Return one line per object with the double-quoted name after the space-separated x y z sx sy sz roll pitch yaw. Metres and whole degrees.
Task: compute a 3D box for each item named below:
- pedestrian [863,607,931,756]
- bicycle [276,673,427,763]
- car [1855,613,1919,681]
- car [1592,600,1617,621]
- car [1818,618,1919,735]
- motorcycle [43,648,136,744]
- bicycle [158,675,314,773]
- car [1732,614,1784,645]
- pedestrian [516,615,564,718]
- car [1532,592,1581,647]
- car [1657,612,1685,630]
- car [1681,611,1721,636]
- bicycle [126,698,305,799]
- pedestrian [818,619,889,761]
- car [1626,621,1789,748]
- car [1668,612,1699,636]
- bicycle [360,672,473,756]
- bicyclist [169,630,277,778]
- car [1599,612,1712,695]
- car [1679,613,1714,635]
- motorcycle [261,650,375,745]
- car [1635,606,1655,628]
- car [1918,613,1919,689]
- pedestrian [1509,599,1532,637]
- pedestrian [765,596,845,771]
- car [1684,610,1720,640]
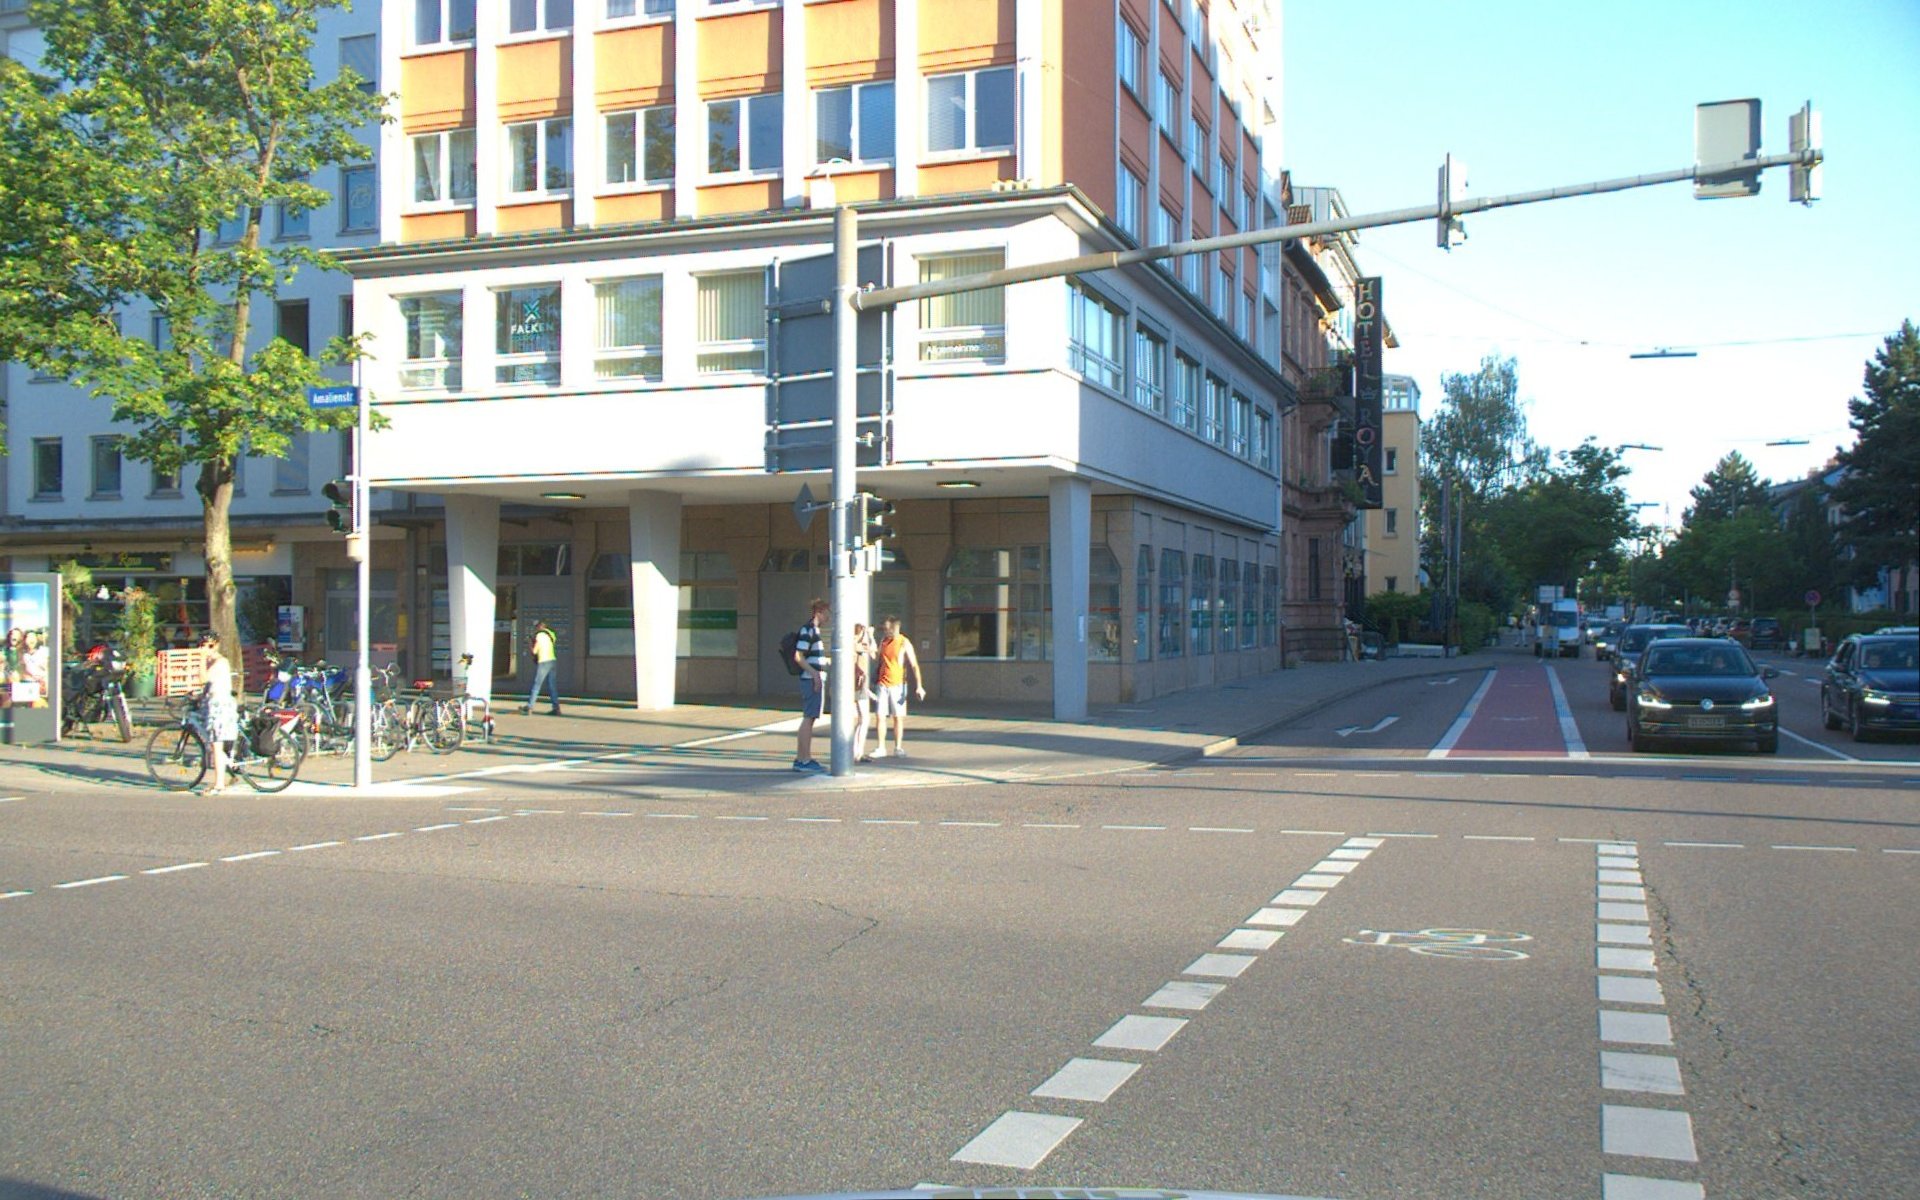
-0.792 1.011 20.967 0.733 1.850 0.714 0 0 9 "pedestrian"
-7.788 1.492 21.148 1.947 1.094 0.469 0 0 19 "bicycle"
22.436 1.068 38.969 1.953 1.512 3.999 -1 0 22 "car"
75.696 1.275 194.334 2.562 2.418 5.256 -1 0 20 "car"
13.671 1.038 23.829 1.953 1.512 3.999 -1 0 22 "car"
-12.506 1.361 23.759 1.357 1.341 0.381 -1 -1 21 "motorcycle"
-8.574 1.458 19.586 1.861 1.094 0.469 0 0 19 "bicycle"
41.268 1.508 85.623 1.952 1.544 4.221 -1 0 20 "car"
-7.589 1.190 29.889 0.625 1.823 0.586 -1 -1 18 "pedestrian"
26.559 0.856 73.668 1.952 2.365 4.221 -1 0 20 "car"
61.522 1.793 143.060 1.952 1.544 4.221 -1 0 20 "car"
46.677 1.451 104.256 1.952 1.544 4.221 -1 0 20 "car"
-7.461 1.476 16.587 1.627 0.961 0.510 0 0 10 "bicycle"
-1.310 1.098 20.415 0.712 1.714 0.586 -1 -1 18 "pedestrian"
10.063 1.066 22.485 1.842 1.512 3.999 -1 0 22 "car"
57.811 1.884 132.233 1.952 1.866 4.221 -1 0 20 "car"
-7.337 1.530 22.329 1.523 1.094 0.395 0 -1 19 "bicycle"
-7.378 1.032 16.572 0.836 1.451 0.501 -1 0 9 "bicyclist"
14.243 1.043 34.060 1.952 1.558 4.001 -1 0 20 "car"
53.767 1.727 120.805 1.952 1.544 4.221 -1 0 20 "car"
-9.726 1.451 25.123 0.532 1.341 1.836 -1 0 21 "motorcycle"
75.727 1.854 182.869 1.952 2.418 4.001 -1 0 20 "car"
19.450 1.010 31.098 1.953 1.512 3.999 -1 0 22 "car"
30.450 0.980 89.880 1.001 2.049 0.945 0 0 6 "pedestrian"
-1.802 0.945 19.186 0.713 1.981 0.712 0 -1 -26 "pedestrian"
51.119 1.687 114.019 1.952 2.032 4.221 -1 0 20 "car"
